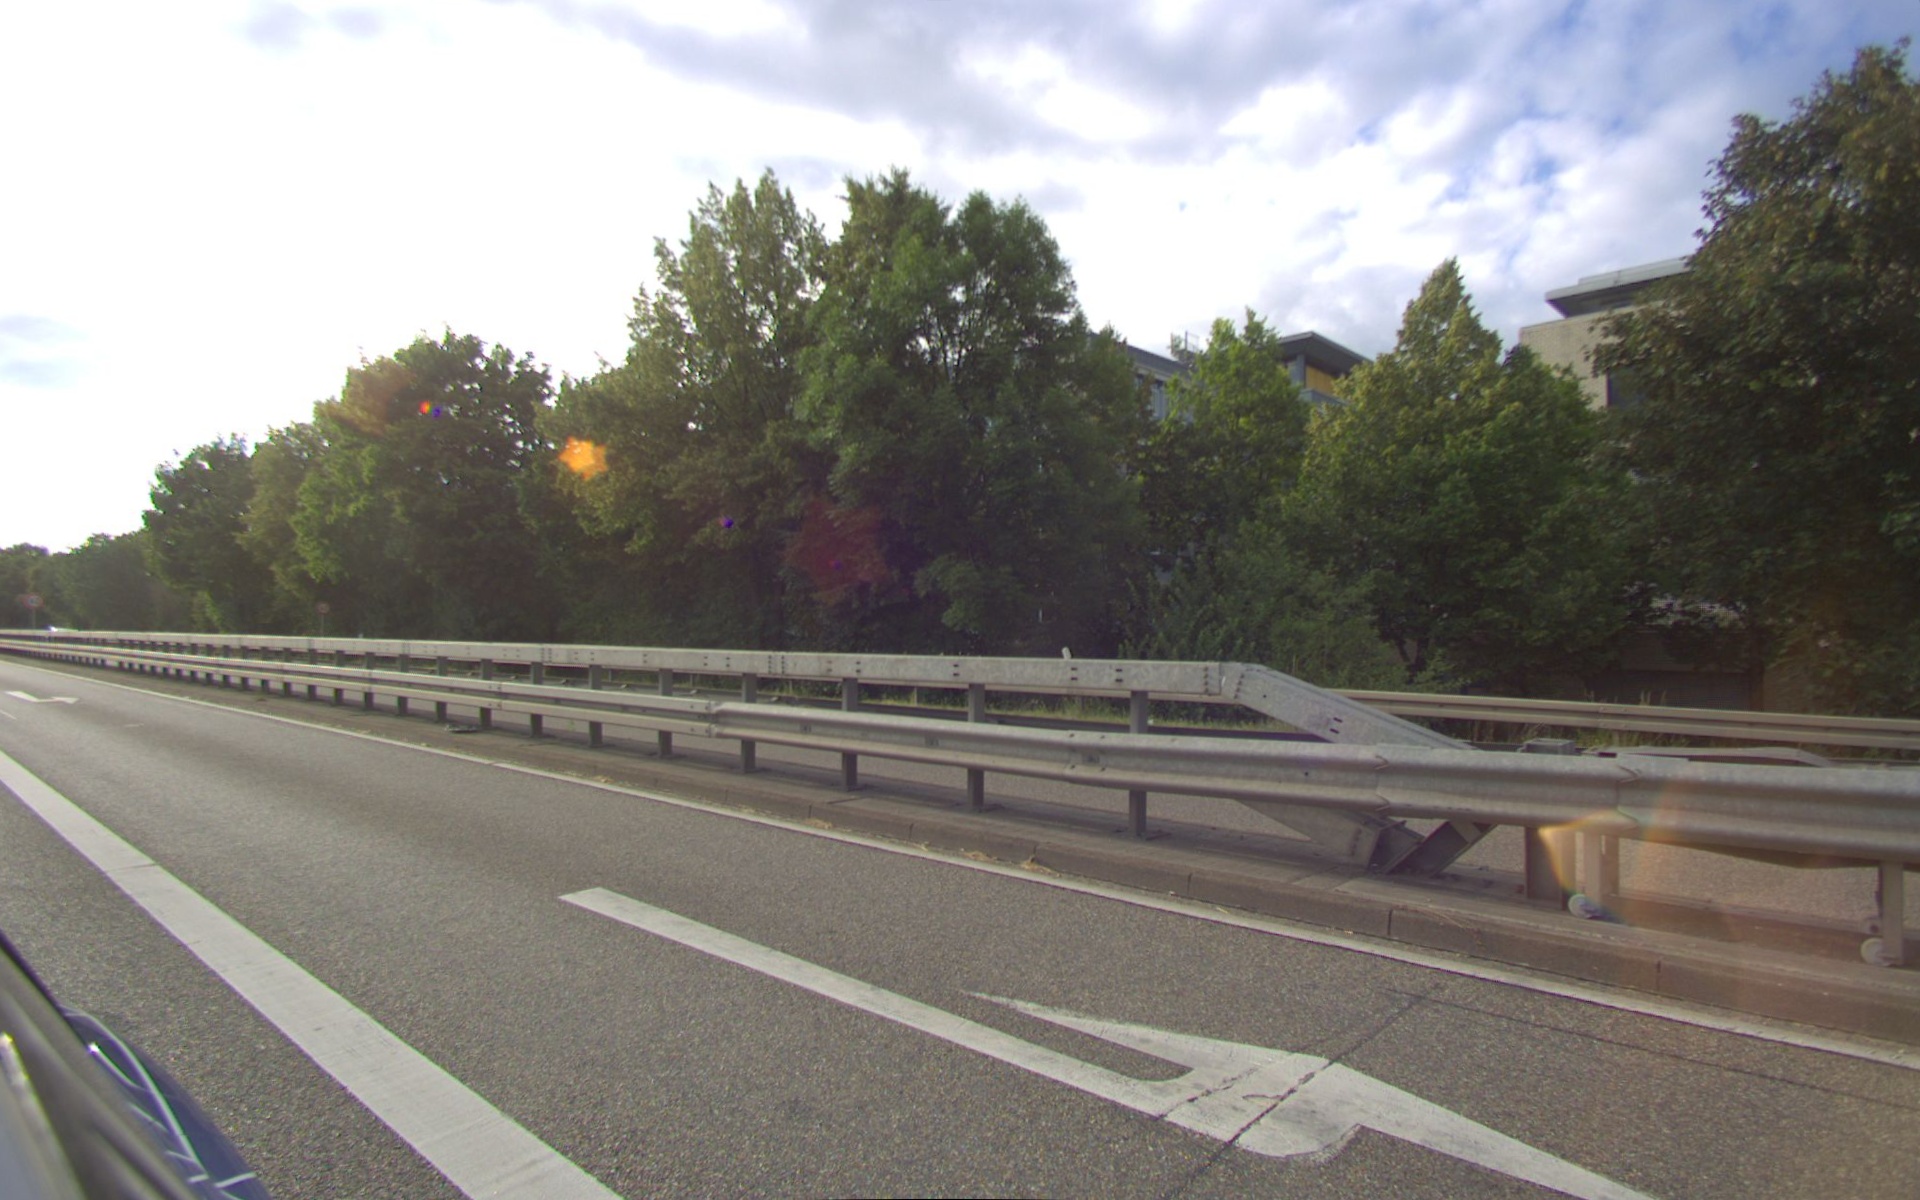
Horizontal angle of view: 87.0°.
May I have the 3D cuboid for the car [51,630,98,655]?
[{"bbox_3d":[-62.499,2.962,71.428,3.997,1.674,1.924,-1,-1,40],"label":"car"}]
